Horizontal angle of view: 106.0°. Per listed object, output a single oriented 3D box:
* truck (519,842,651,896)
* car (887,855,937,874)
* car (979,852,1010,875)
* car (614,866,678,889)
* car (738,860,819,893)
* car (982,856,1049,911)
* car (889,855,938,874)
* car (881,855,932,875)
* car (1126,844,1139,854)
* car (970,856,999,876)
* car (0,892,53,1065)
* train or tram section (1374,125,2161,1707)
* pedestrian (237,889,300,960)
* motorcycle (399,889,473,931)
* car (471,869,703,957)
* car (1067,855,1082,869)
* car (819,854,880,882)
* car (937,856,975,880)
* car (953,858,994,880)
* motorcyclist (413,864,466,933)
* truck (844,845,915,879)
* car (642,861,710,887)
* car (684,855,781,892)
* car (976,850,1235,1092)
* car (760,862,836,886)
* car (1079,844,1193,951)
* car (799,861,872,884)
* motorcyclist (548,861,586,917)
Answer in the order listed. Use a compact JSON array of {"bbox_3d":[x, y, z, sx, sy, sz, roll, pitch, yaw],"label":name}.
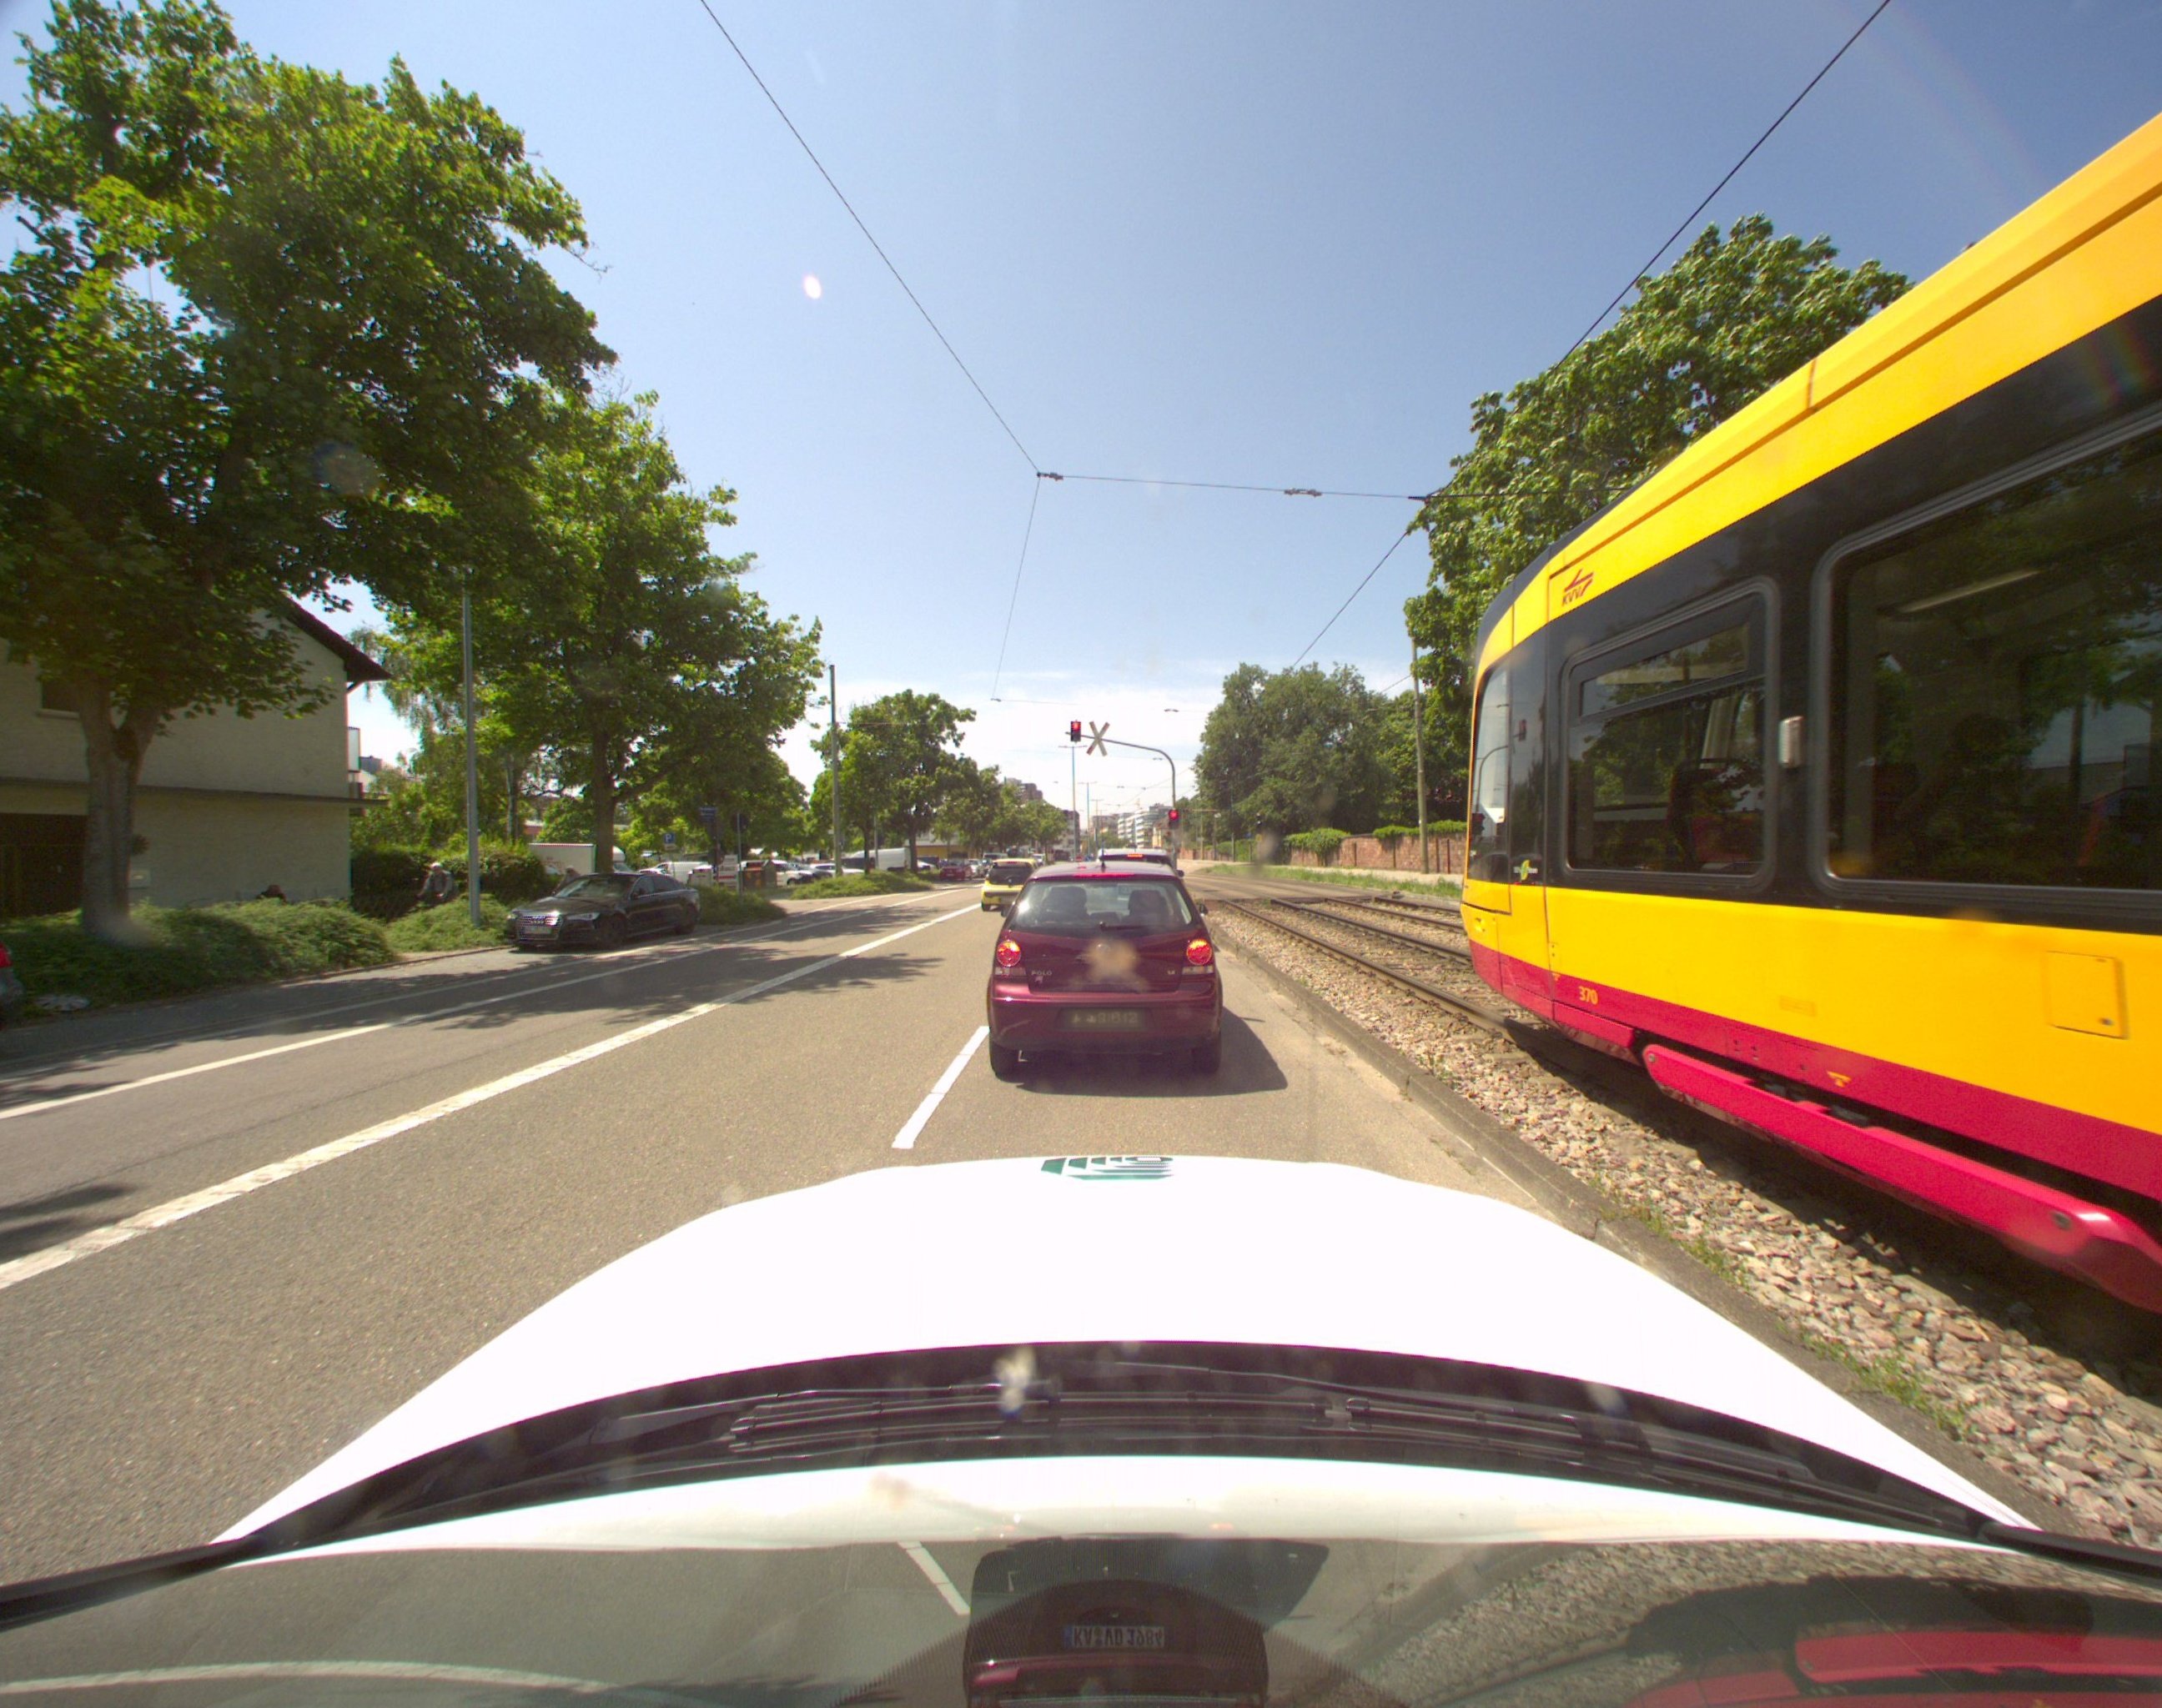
[{"bbox_3d":[-31.427,0.926,51.718,6.954,3.227,2.150,-1,0,0],"label":"truck"},{"bbox_3d":[-17.526,1.084,84.537,4.702,1.813,1.797,-2,0,0],"label":"car"},{"bbox_3d":[-7.557,0.810,71.521,1.854,1.937,4.811,2,0,4],"label":"car"},{"bbox_3d":[-31.686,1.720,59.363,3.733,1.576,1.733,-1,0,1],"label":"car"},{"bbox_3d":[-18.579,1.377,50.120,4.247,1.835,1.675,-2,0,4],"label":"car"},{"bbox_3d":[-1.817,0.784,23.418,1.545,1.448,3.413,0,0,2],"label":"car"},{"bbox_3d":[-17.820,1.115,86.809,4.702,1.813,1.797,-2,0,0],"label":"car"},{"bbox_3d":[-17.617,1.108,82.358,4.702,1.813,1.797,-2,0,0],"label":"car"},{"bbox_3d":[9.541,-0.921,150.849,1.914,1.910,4.566,-2,0,-3],"label":"car"},{"bbox_3d":[-7.863,0.951,66.419,1.607,1.484,3.789,2,0,4],"label":"car"},{"bbox_3d":[-10.254,1.097,5.359,1.670,1.486,4.130,0,0,2],"label":"car"},{"bbox_3d":[3.863,0.193,0.273,2.795,3.807,14.267,0,0,2],"label":"train or tram section"},{"bbox_3d":[-18.012,1.555,18.068,0.789,1.510,0.610,-2,0,8],"label":"pedestrian"},{"bbox_3d":[-14.664,1.259,18.556,0.524,0.825,1.372,1,0,3],"label":"motorcycle"},{"bbox_3d":[-9.876,1.084,16.854,1.888,1.456,4.809,0,0,0],"label":"car"},{"bbox_3d":[-0.975,1.185,124.755,1.911,1.910,4.573,-3,0,2],"label":"car"},{"bbox_3d":[-18.102,1.105,63.764,4.195,1.995,1.857,-2,0,0],"label":"car"},{"bbox_3d":[-8.360,0.930,54.625,1.664,1.546,3.731,0,-1,4],"label":"car"},{"bbox_3d":[-8.076,1.092,61.408,1.709,1.427,4.783,-2,1,9],"label":"car"},{"bbox_3d":[-14.655,1.002,18.611,0.584,1.503,0.726,1,0,3],"label":"motorcyclist"},{"bbox_3d":[-17.667,0.728,71.595,5.555,2.759,2.434,-2,0,3],"label":"truck"},{"bbox_3d":[-30.702,1.492,61.784,4.112,1.820,1.971,-1,0,1],"label":"car"},{"bbox_3d":[-19.354,1.083,45.330,4.438,1.857,2.059,-2,0,-3],"label":"car"},{"bbox_3d":[0.212,0.727,7.078,1.603,1.498,4.002,0,0,2],"label":"car"},{"bbox_3d":[-18.438,1.304,53.157,4.185,1.403,2.079,-2,0,-2],"label":"car"},{"bbox_3d":[0.929,0.684,14.829,1.788,1.683,4.002,0,0,2],"label":"car"},{"bbox_3d":[-18.389,1.384,61.104,4.745,1.488,2.058,-2,0,0],"label":"car"},{"bbox_3d":[-14.428,0.971,22.869,0.584,1.503,0.663,1,0,3],"label":"motorcyclist"}]
